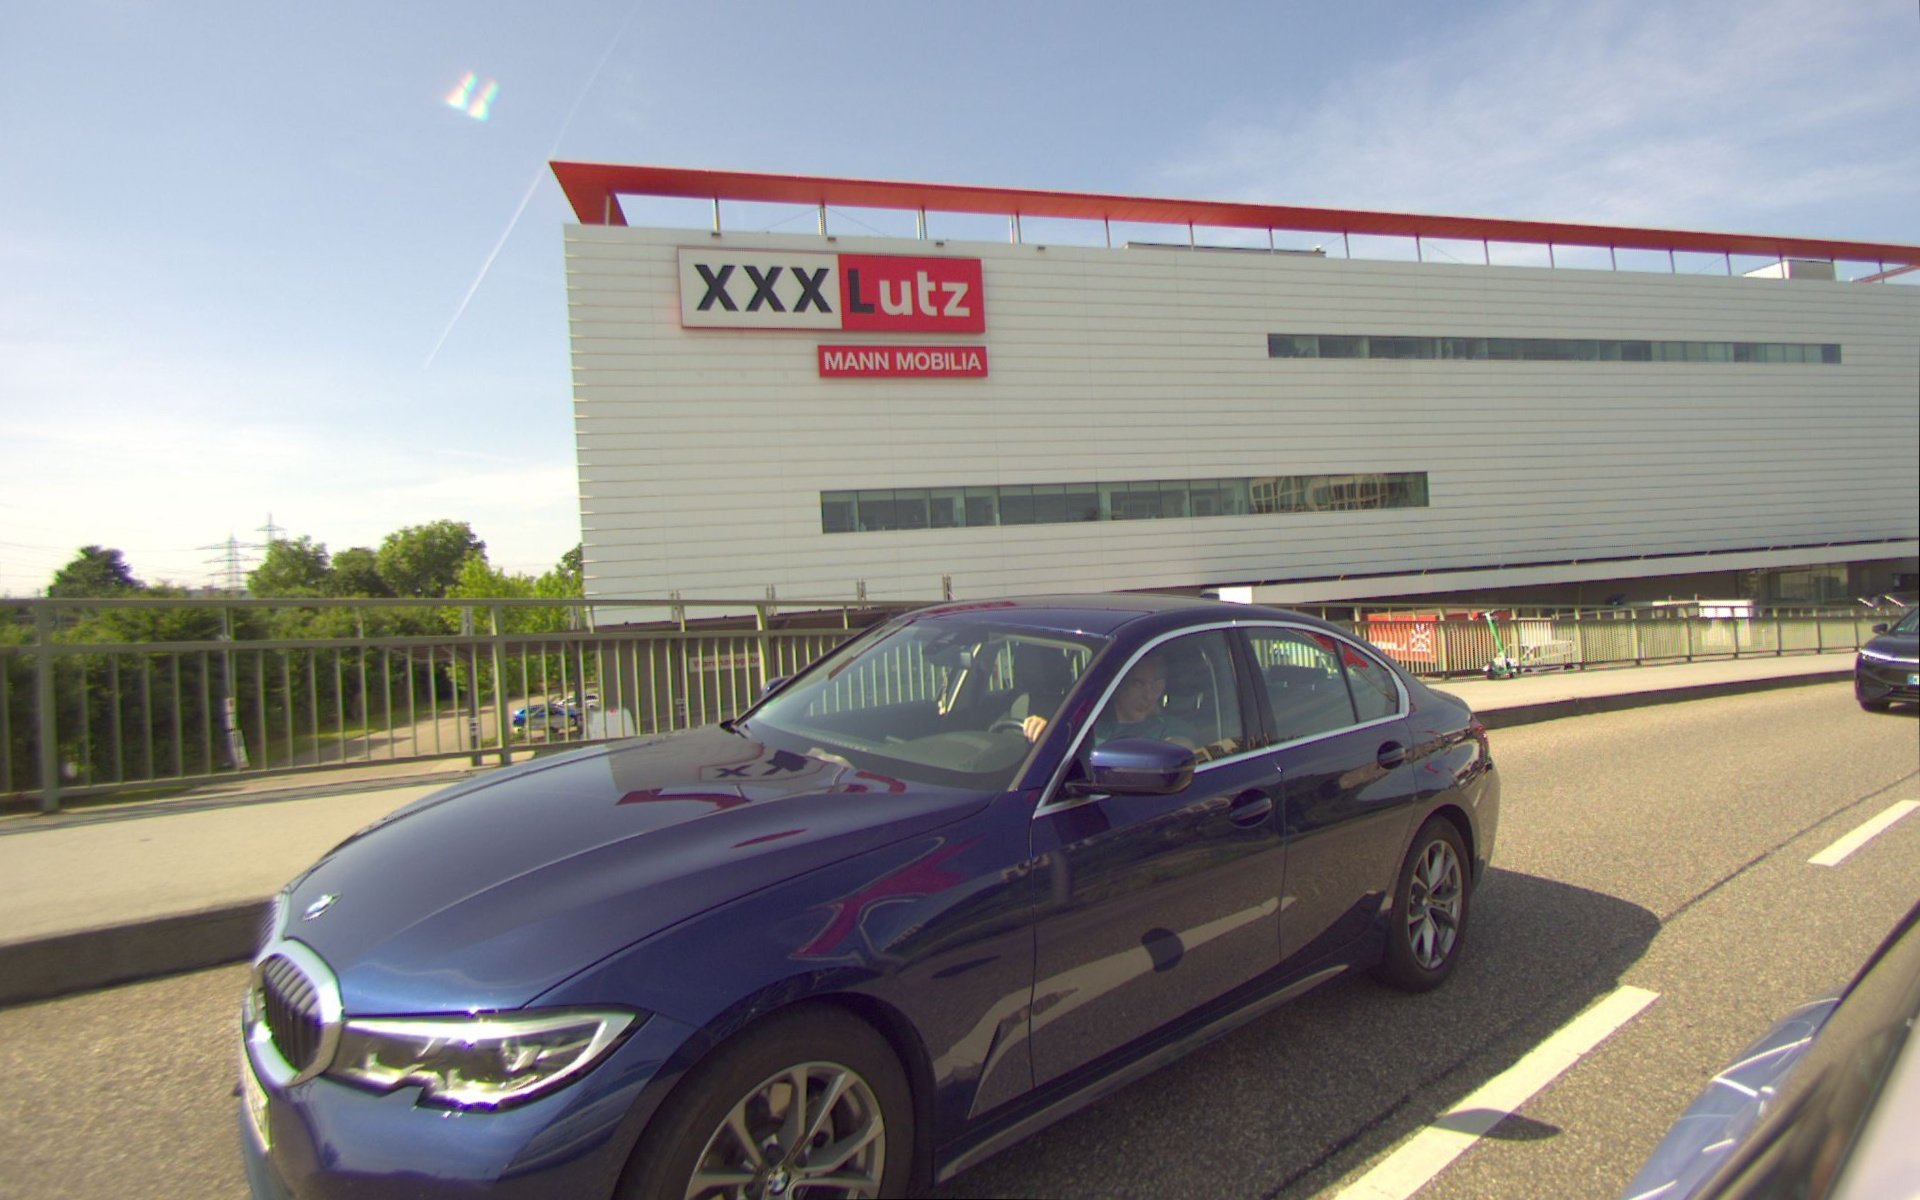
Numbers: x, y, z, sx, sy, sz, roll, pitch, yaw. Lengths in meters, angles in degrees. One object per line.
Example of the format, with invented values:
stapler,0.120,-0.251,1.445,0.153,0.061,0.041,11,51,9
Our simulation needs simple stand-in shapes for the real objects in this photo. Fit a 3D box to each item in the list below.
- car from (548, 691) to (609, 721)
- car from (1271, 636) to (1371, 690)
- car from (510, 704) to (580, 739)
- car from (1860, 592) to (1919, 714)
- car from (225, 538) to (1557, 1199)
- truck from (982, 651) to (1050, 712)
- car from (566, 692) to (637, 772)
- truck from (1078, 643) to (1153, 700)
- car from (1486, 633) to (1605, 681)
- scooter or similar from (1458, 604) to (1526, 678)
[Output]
car,-27.154,7.536,72.170,3.747,1.658,1.810,-3,1,-11
car,20.456,3.502,57.702,2.088,2.654,6.023,-3,0,-17
car,-26.067,7.605,63.653,3.747,1.658,1.810,-3,1,-11
car,14.091,0.686,13.797,4.065,1.548,1.862,0,0,-35
car,0.263,0.637,3.561,4.443,1.502,1.790,-4,0,-41
truck,3.159,4.596,58.429,2.088,2.964,6.022,-3,0,-14
car,-16.800,6.041,47.209,2.090,2.964,6.017,-3,0,-28
truck,9.252,4.226,60.767,2.088,2.964,6.022,-3,0,-14
car,32.106,3.072,55.494,5.887,2.029,2.137,-4,1,-16
scooter or similar,8.746,0.652,16.617,1.457,1.157,0.511,0,-2,-43
